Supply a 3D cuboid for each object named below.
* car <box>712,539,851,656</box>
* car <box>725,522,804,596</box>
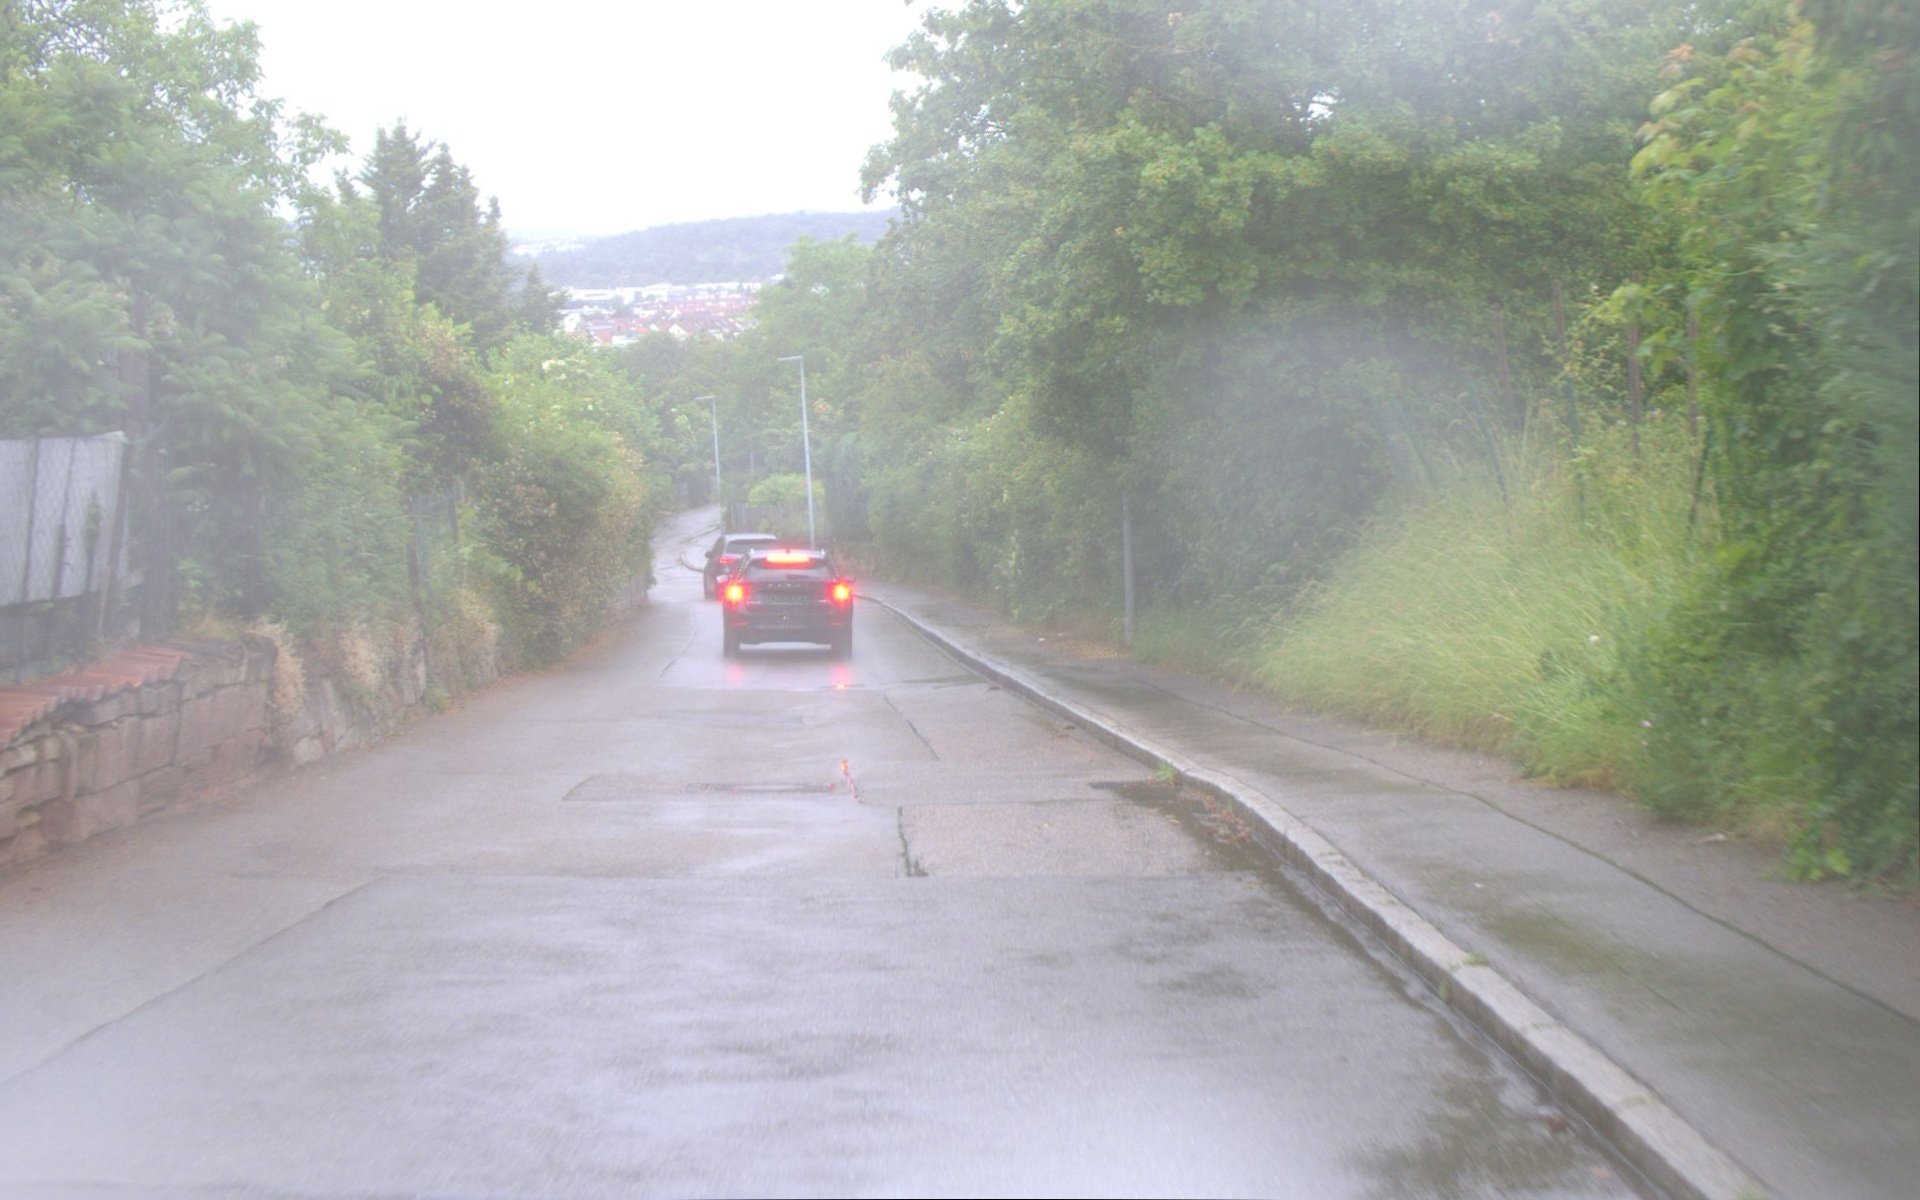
[{"bbox_3d":[-2.490,-0.072,47.594,1.834,1.459,4.001,0,2,-3],"label":"car"},{"bbox_3d":[-4.571,-0.977,80.931,1.678,1.559,3.795,-1,3,-1],"label":"car"}]
